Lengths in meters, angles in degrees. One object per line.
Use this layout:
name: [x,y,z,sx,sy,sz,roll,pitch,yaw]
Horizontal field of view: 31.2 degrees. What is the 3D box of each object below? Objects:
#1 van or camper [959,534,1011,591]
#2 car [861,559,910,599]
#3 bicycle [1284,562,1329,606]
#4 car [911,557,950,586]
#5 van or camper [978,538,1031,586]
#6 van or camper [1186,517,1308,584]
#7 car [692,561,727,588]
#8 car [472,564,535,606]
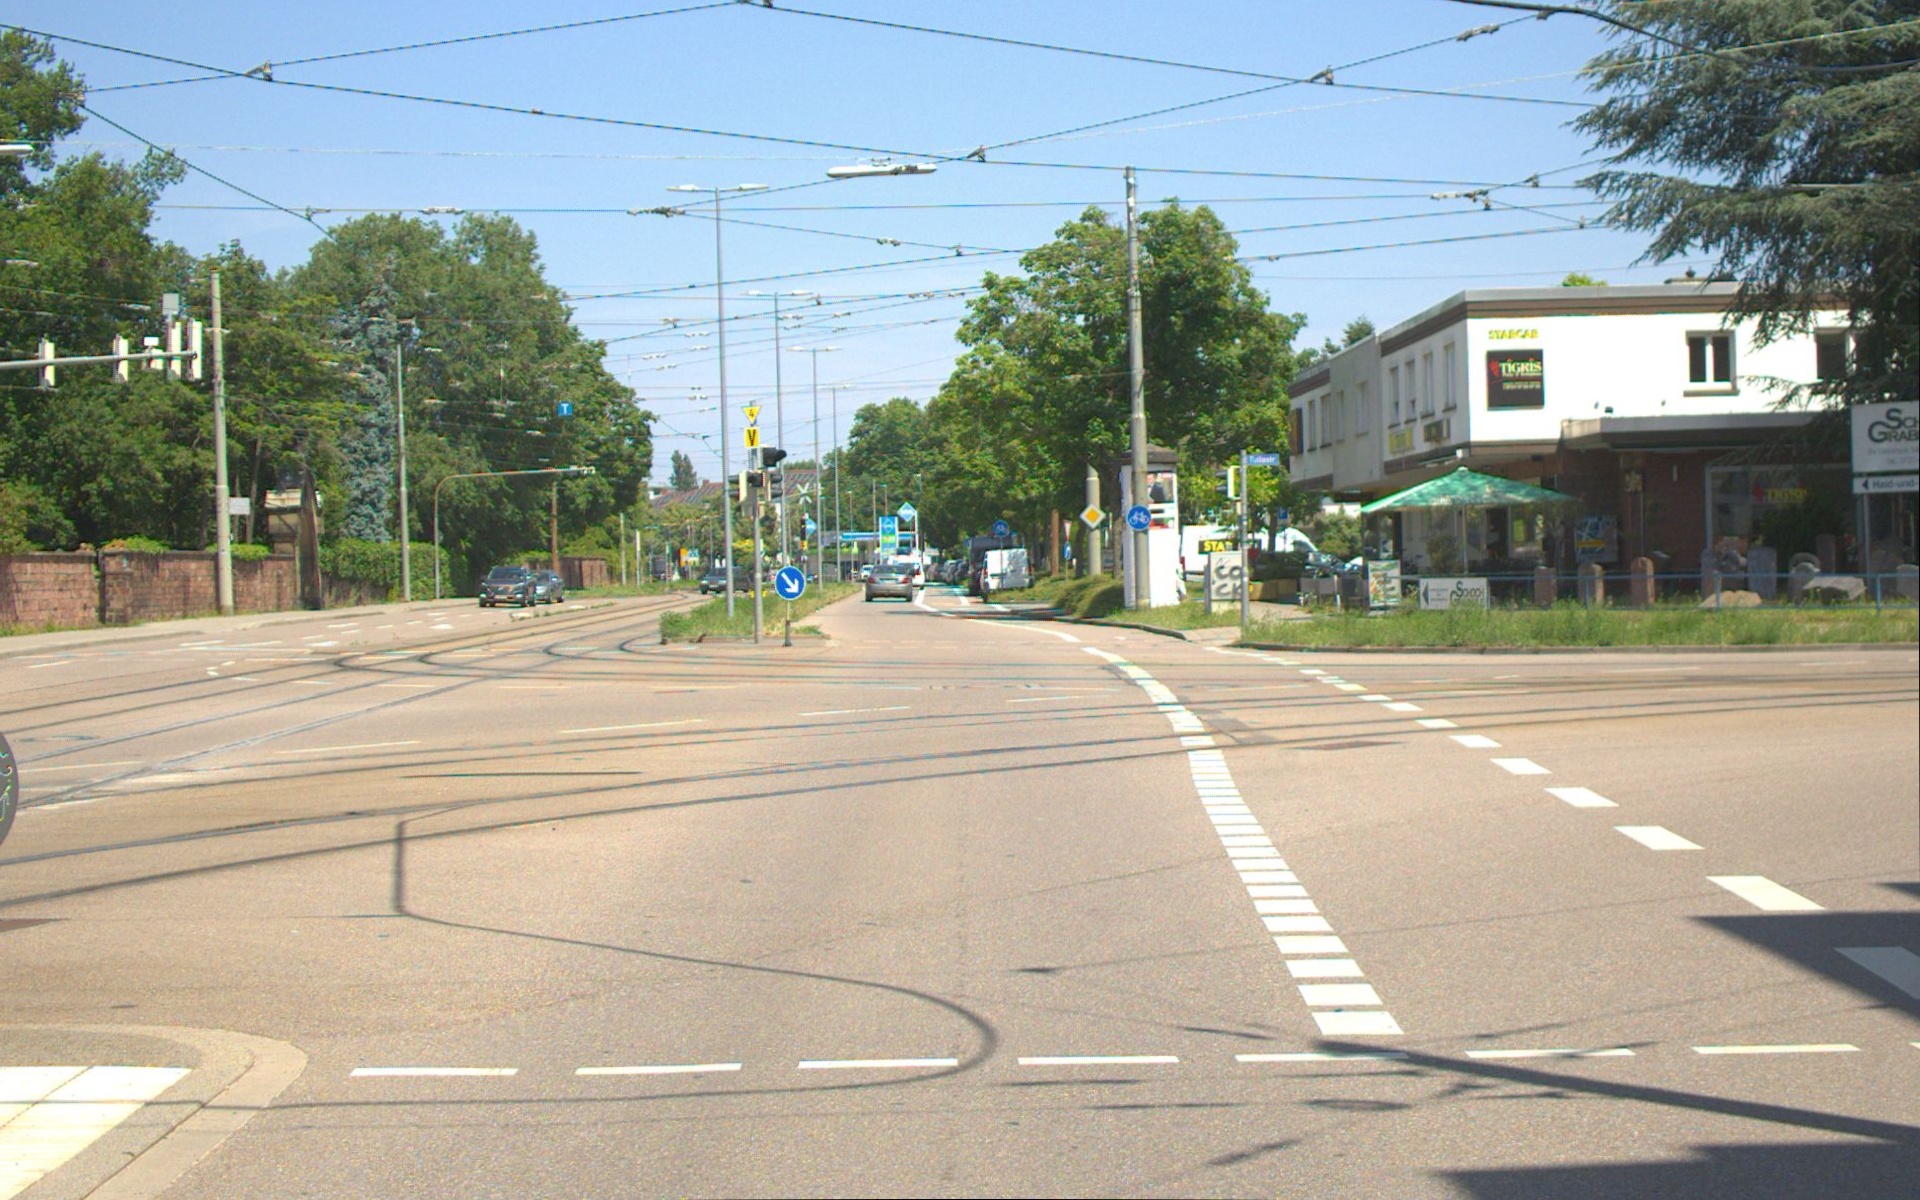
van or camper: [1.077,-1.653,151.149,1.993,2.456,4.001,-1,1,-3]
car: [-2.850,-0.803,130.445,1.636,1.346,3.842,-5,1,-3]
bicycle: [8.388,-0.404,83.100,1.034,1.011,2.636,-1,1,7]
car: [-1.535,-1.451,175.301,1.670,1.430,3.475,-1,1,-6]
van or camper: [1.659,-1.424,128.749,1.922,1.766,4.000,-1,1,0]
van or camper: [11.807,-2.049,141.624,4.756,2.662,2.136,-1,1,-2]
car: [-13.229,-1.346,181.921,1.641,1.395,4.116,-1,1,-1]
car: [-18.102,-0.611,136.543,1.820,1.598,4.520,-1,0,1]
